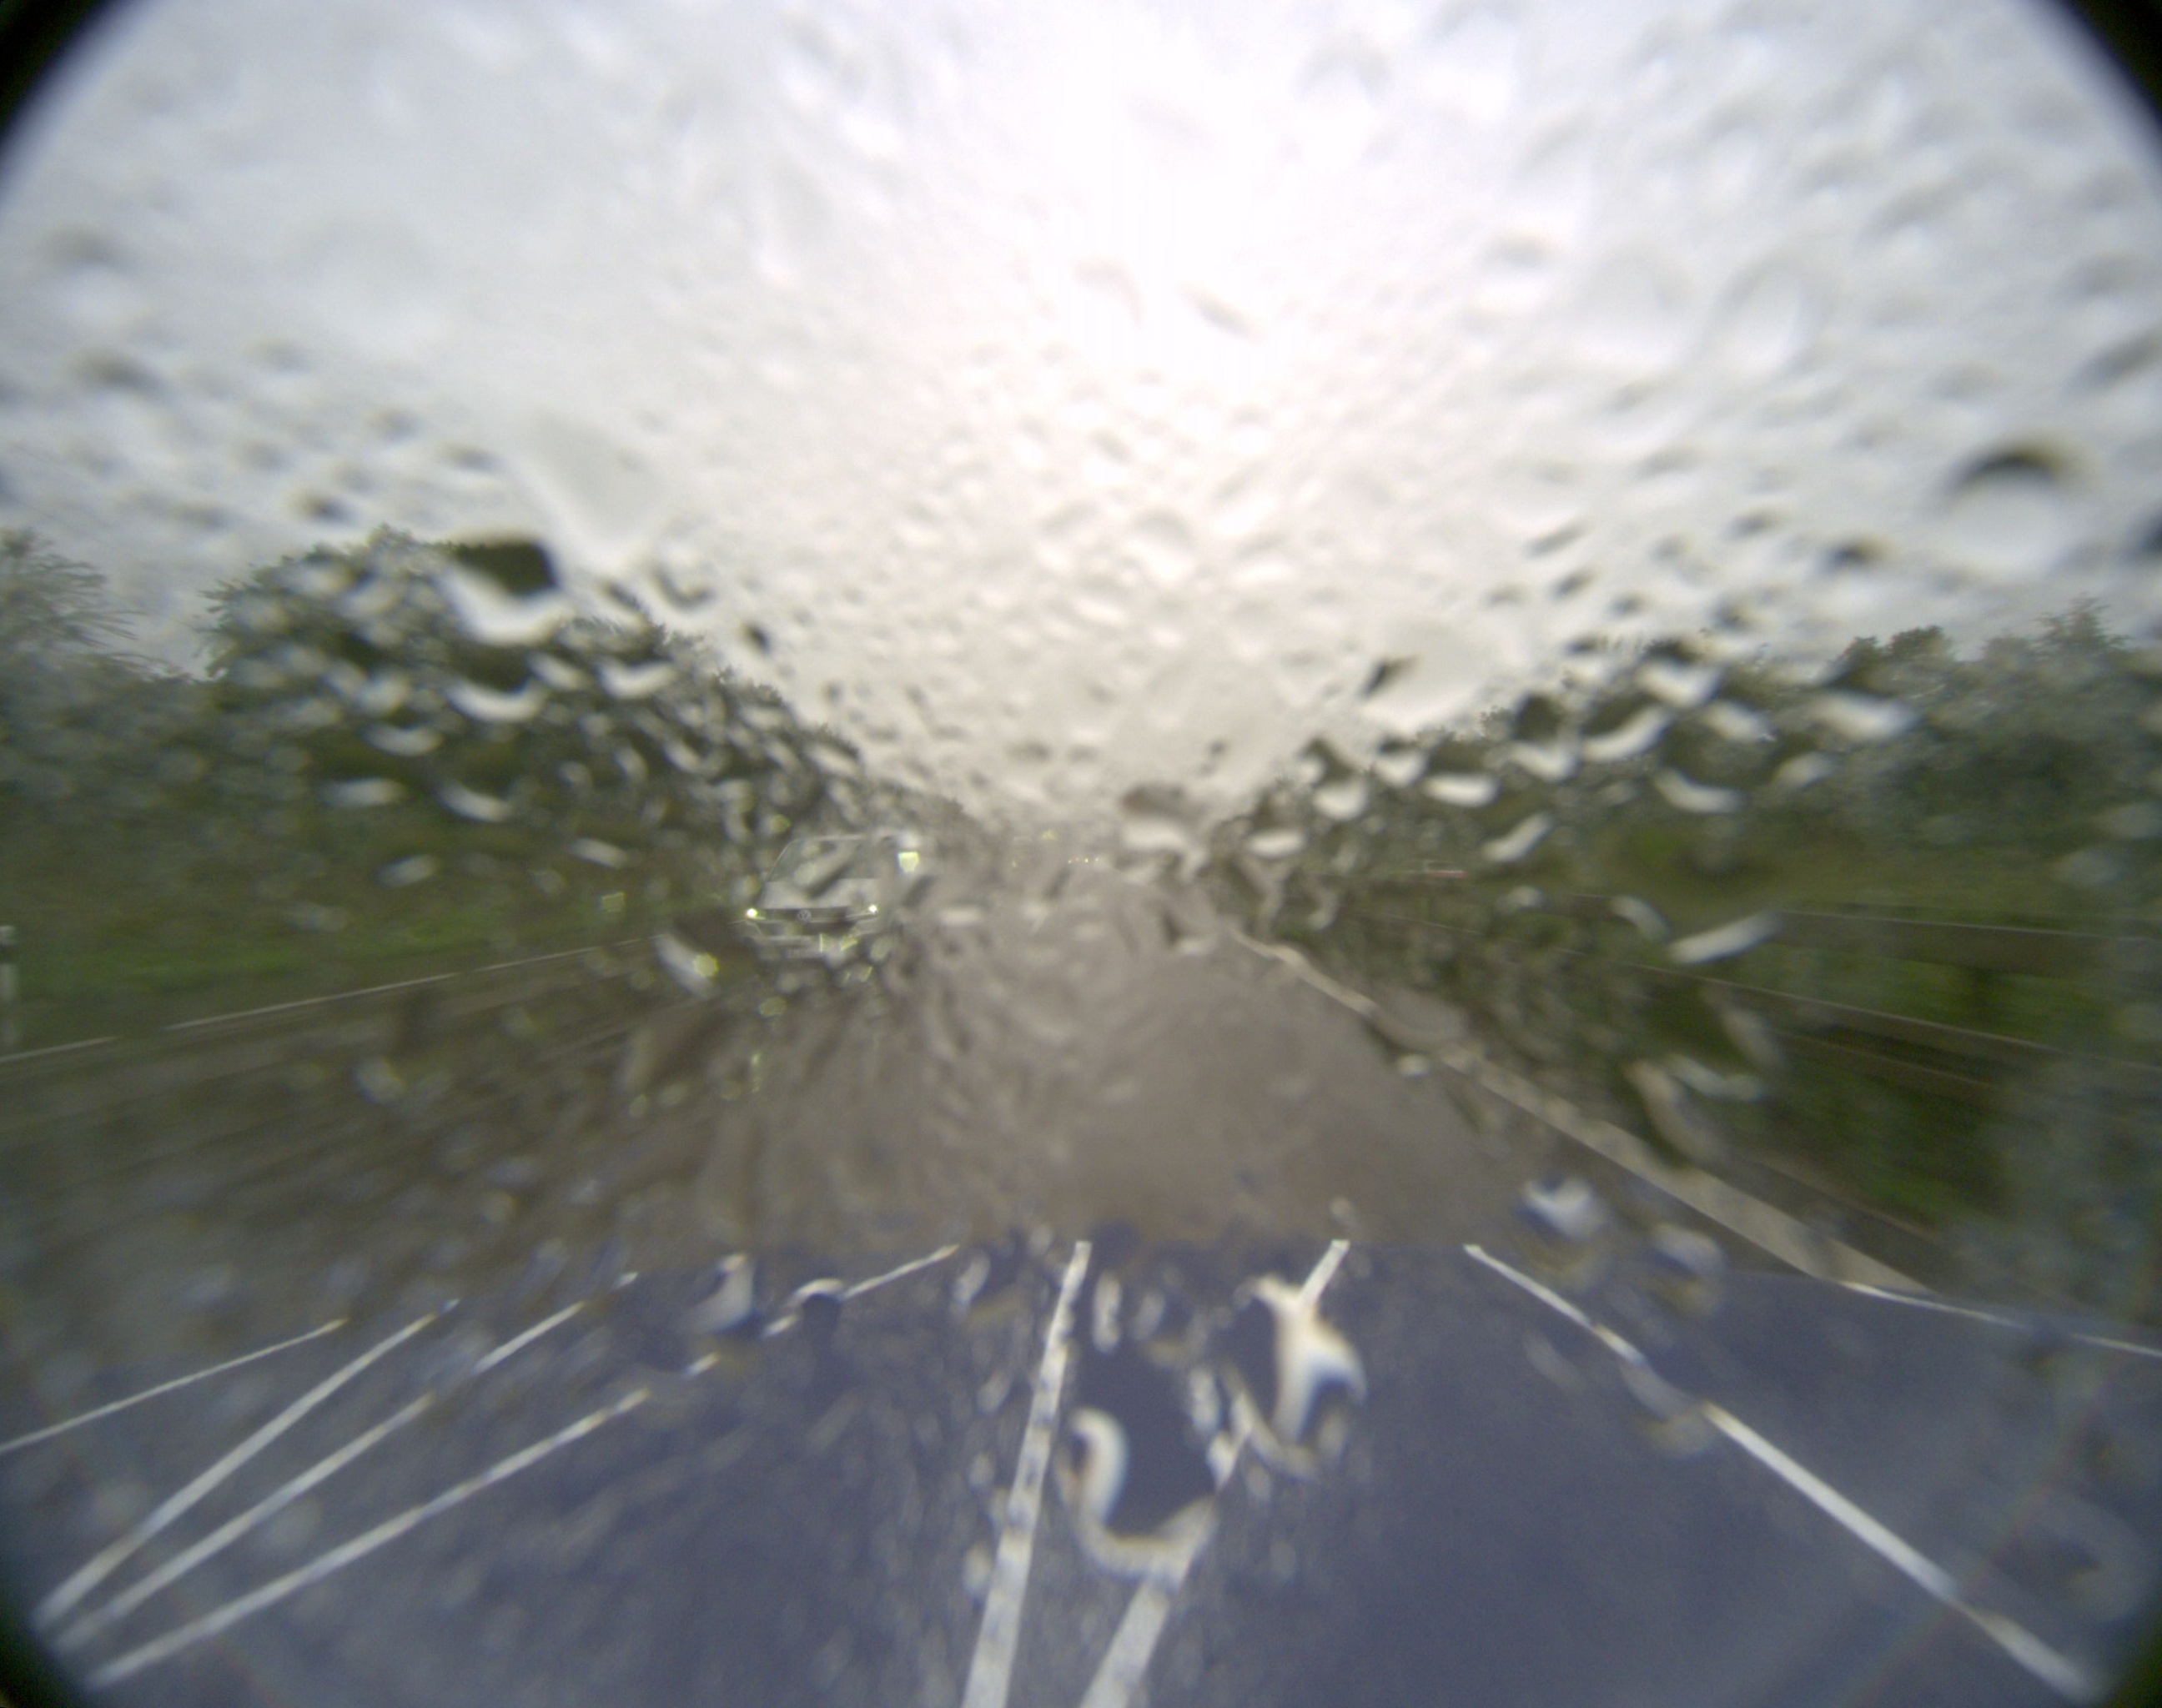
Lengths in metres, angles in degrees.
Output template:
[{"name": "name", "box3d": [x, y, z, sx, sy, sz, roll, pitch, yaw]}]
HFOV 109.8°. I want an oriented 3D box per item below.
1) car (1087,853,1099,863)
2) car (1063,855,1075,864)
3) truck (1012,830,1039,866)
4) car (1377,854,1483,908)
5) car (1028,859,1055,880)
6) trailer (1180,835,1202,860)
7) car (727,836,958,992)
[{"name": "car", "box3d": [1.902, 0.672, 117.805, 1.769, 1.448, 3.959, -2, 0, 1]}, {"name": "car", "box3d": [-1.943, 0.914, 123.162, 1.769, 1.448, 3.959, -2, 0, 1]}, {"name": "truck", "box3d": [-6.516, -0.684, 90.484, 2.618, 4.064, 5.238, -2, 0, 1]}, {"name": "car", "box3d": [13.613, 0.969, 30.007, 1.998, 1.886, 4.805, -2, 0, 1]}, {"name": "car", "box3d": [-2.948, 1.123, 57.613, 1.769, 1.448, 3.959, -2, 0, 1]}, {"name": "trailer", "box3d": [19.678, -1.164, 136.702, 2.704, 4.206, 8.489, -2, 0, 0]}, {"name": "car", "box3d": [-3.324, 0.730, 11.810, 1.892, 1.873, 5.009, -2, 0, 1]}]
